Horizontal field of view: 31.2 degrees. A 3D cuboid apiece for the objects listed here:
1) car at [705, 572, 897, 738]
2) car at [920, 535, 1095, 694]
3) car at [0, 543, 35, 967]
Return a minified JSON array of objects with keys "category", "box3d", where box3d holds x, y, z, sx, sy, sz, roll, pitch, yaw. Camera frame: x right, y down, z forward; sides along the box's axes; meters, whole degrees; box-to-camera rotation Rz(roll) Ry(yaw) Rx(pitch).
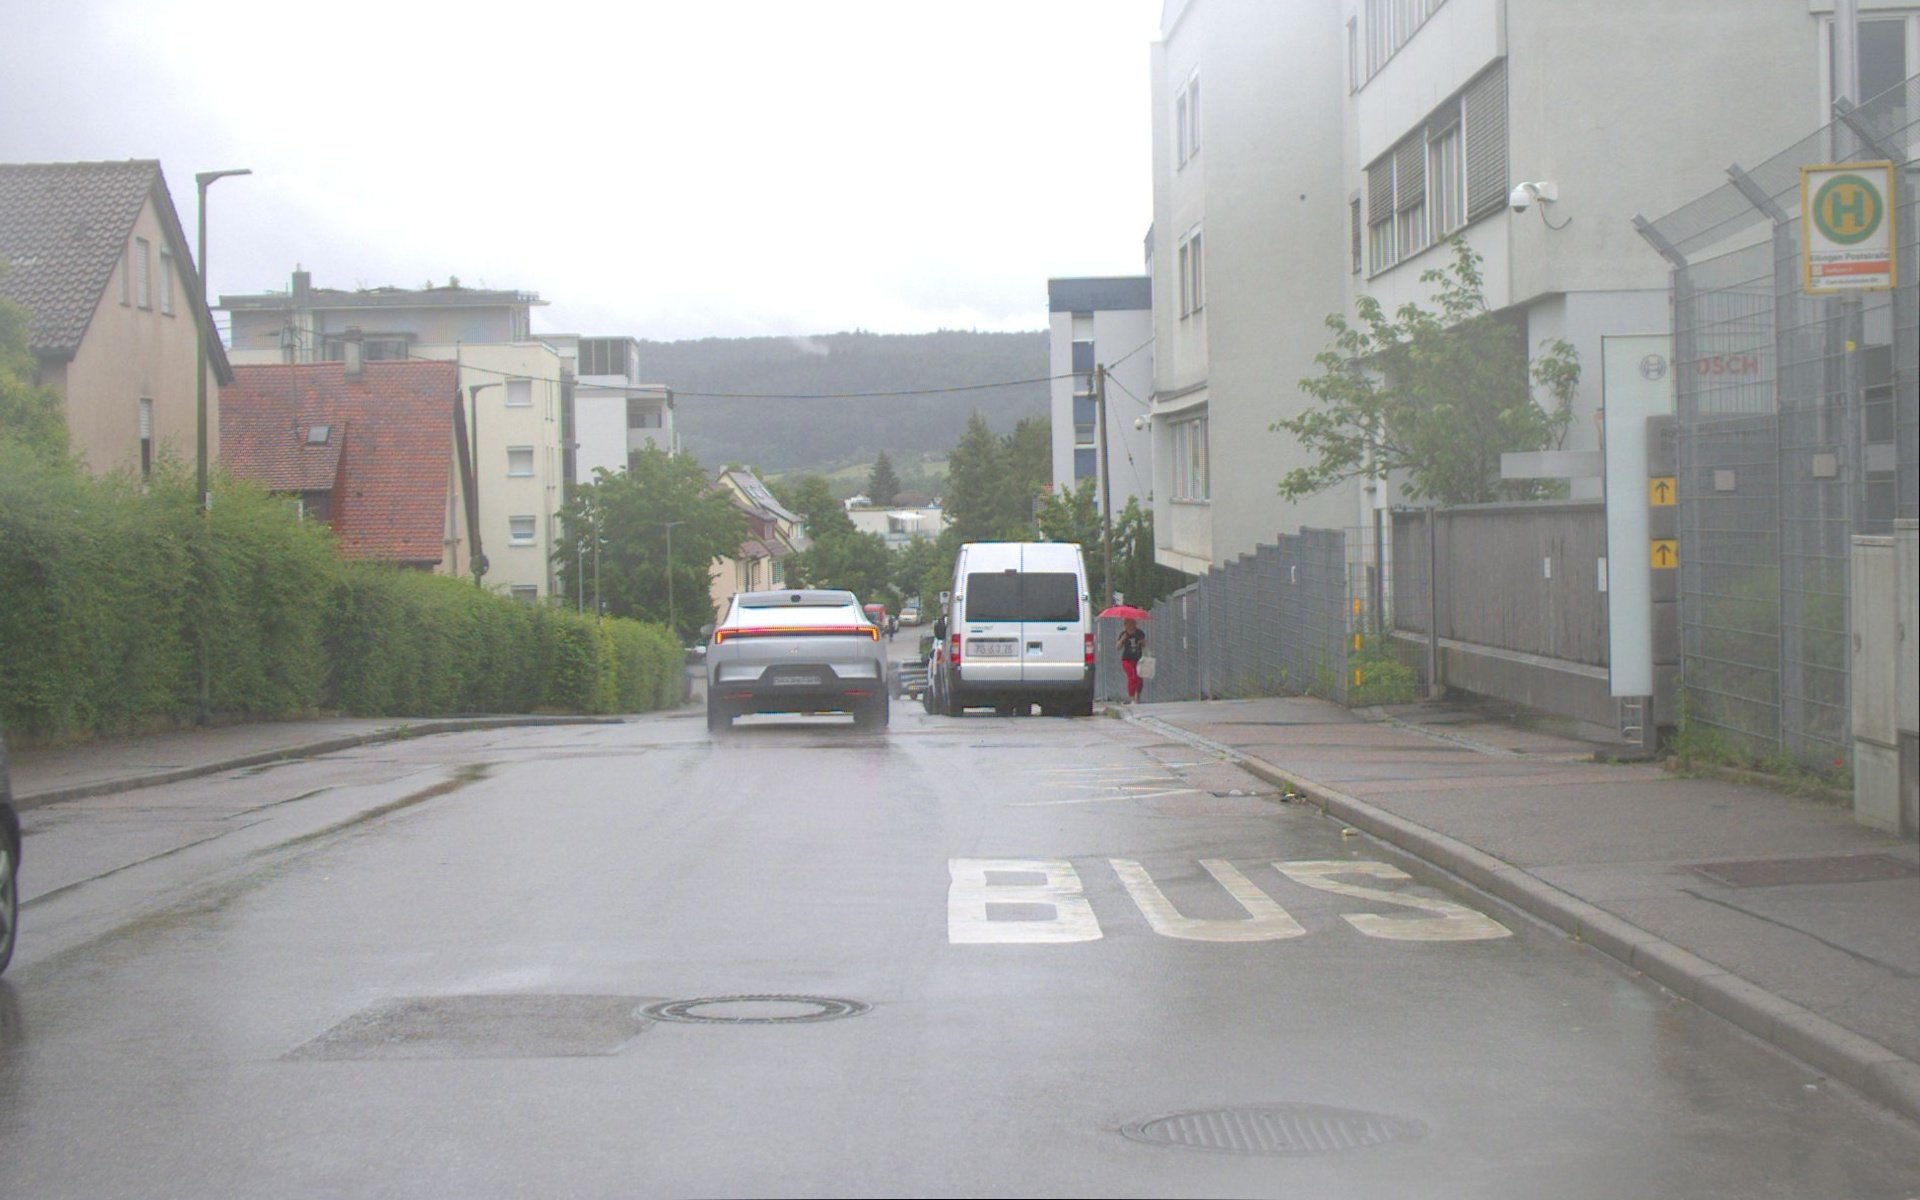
[{"category":"car","box3d":[-1.802,0.561,38.493,1.993,1.497,4.671,-1,3,-3]},{"category":"car","box3d":[0.604,0.208,46.907,1.993,2.007,4.000,-2,-1,-4]},{"category":"car","box3d":[-4.263,0.607,10.847,1.675,1.522,4.000,-1,1,-1]}]
